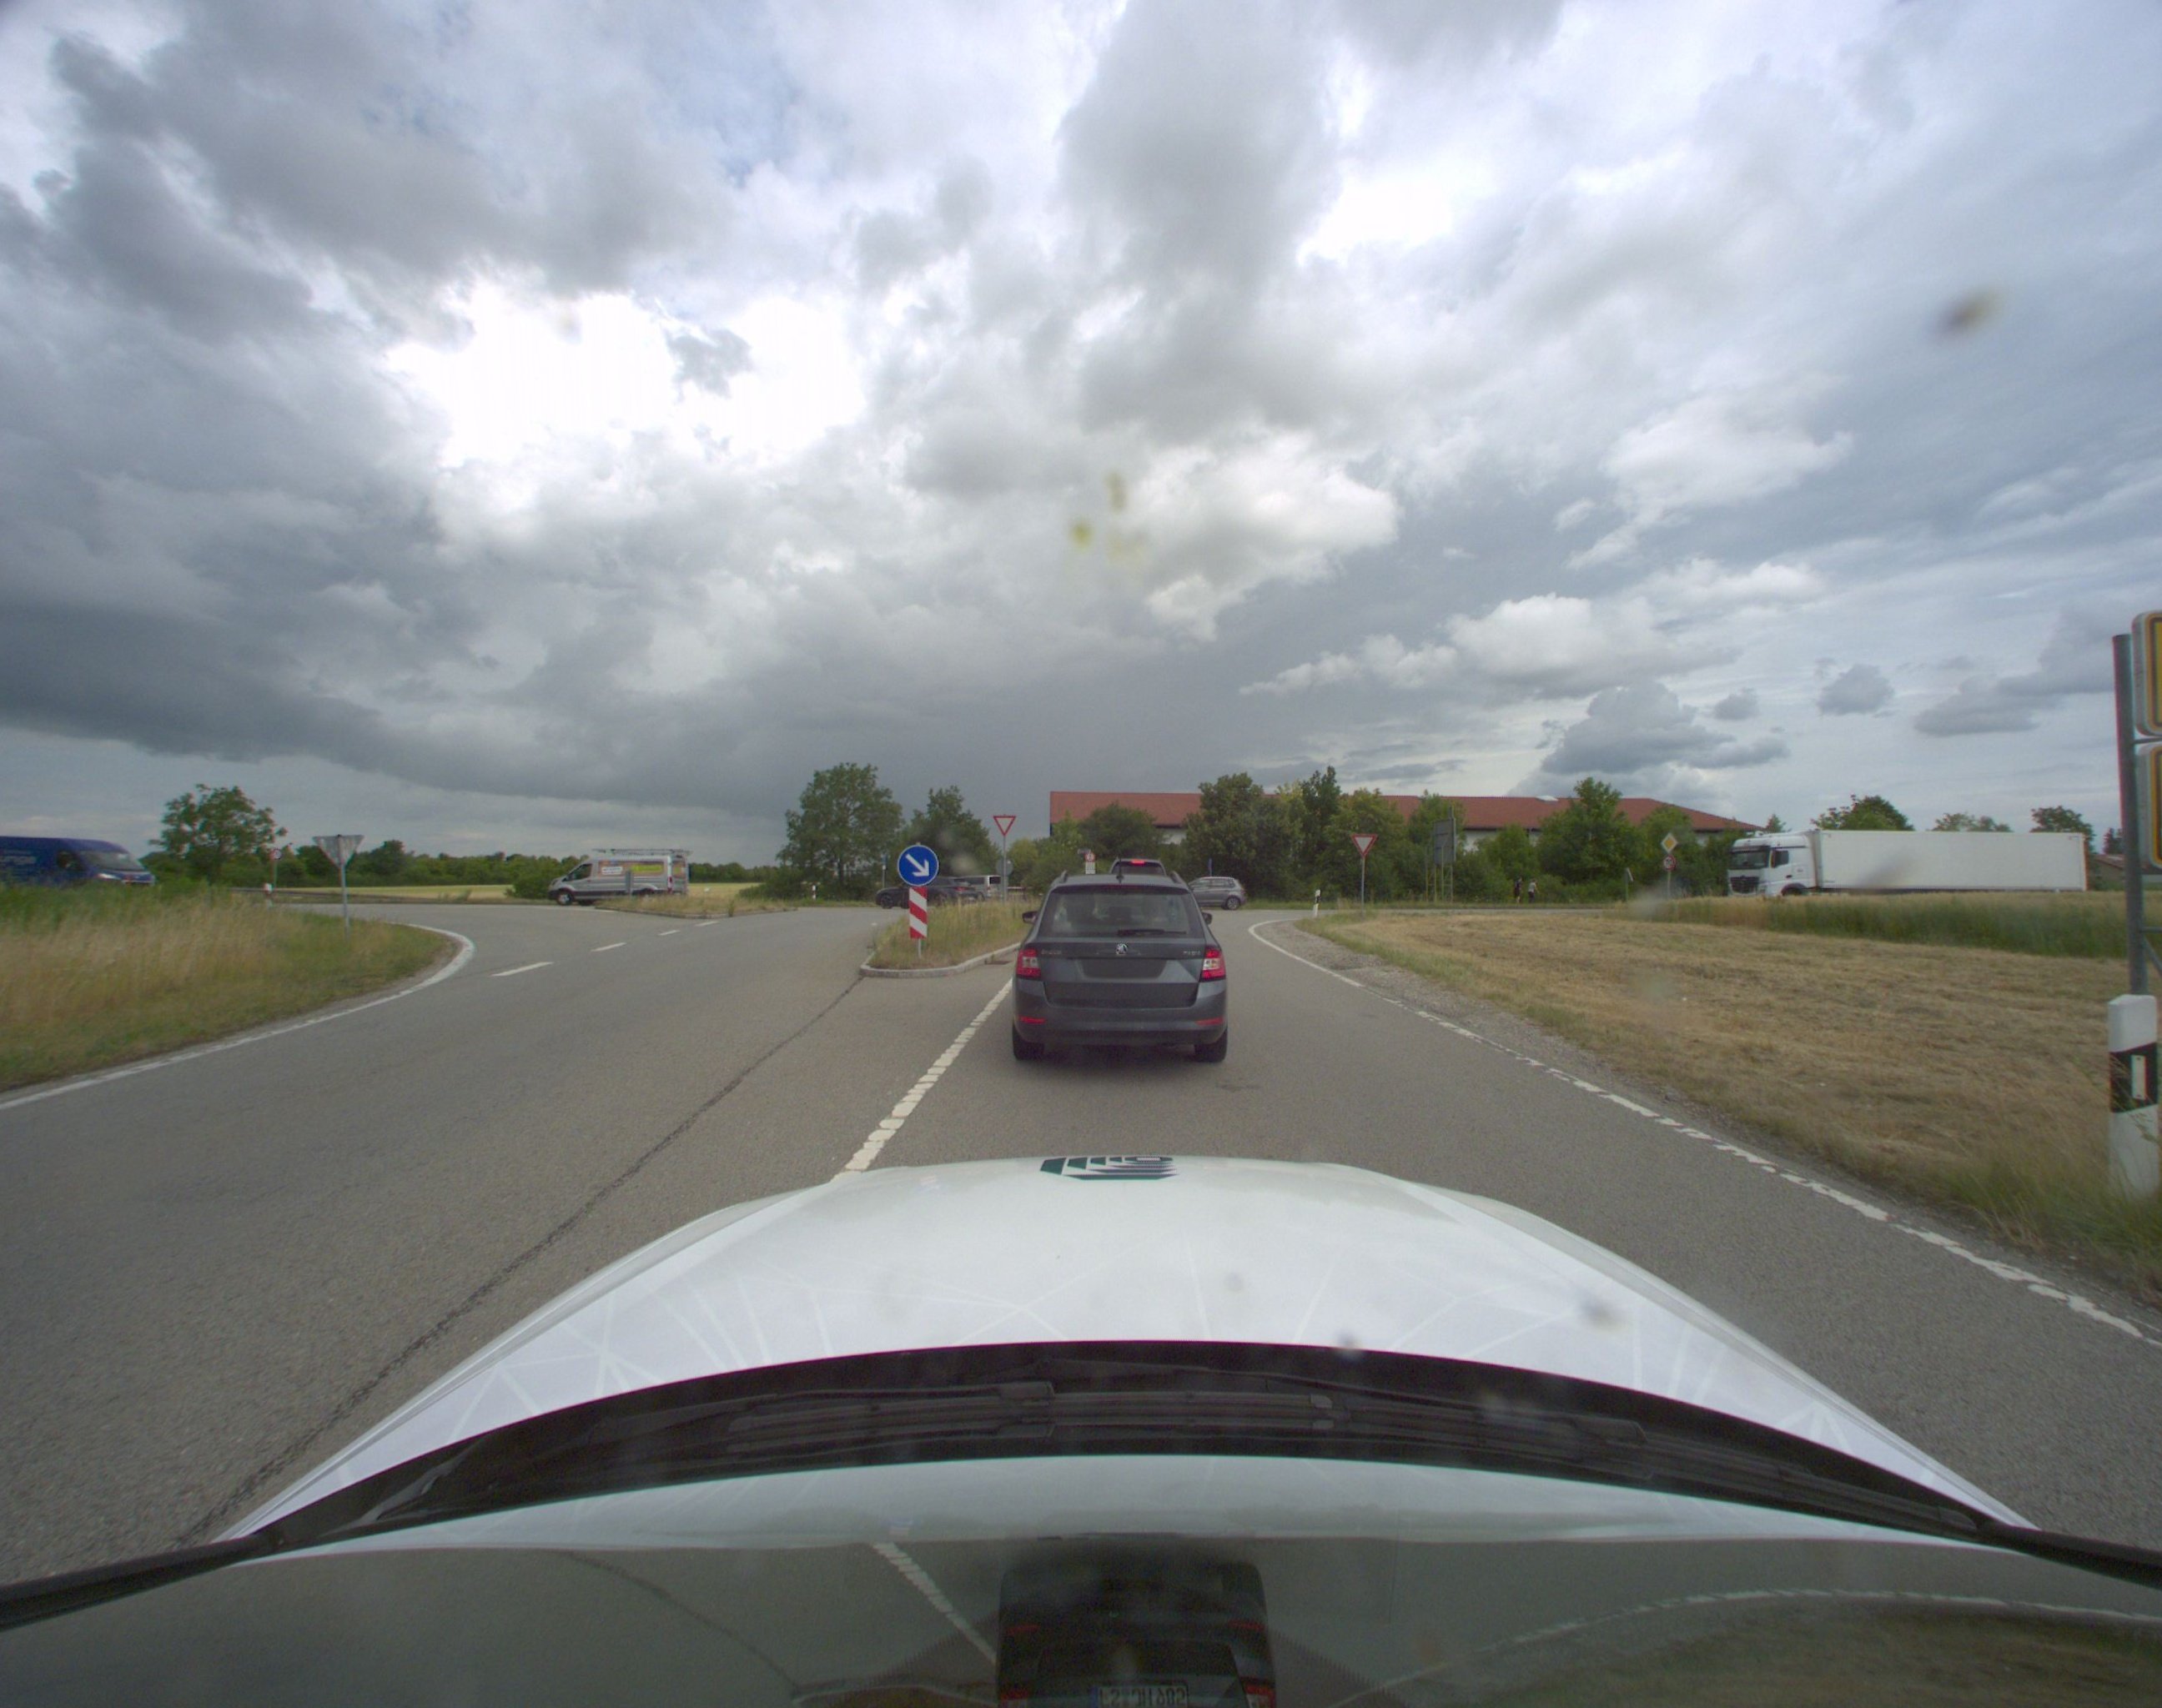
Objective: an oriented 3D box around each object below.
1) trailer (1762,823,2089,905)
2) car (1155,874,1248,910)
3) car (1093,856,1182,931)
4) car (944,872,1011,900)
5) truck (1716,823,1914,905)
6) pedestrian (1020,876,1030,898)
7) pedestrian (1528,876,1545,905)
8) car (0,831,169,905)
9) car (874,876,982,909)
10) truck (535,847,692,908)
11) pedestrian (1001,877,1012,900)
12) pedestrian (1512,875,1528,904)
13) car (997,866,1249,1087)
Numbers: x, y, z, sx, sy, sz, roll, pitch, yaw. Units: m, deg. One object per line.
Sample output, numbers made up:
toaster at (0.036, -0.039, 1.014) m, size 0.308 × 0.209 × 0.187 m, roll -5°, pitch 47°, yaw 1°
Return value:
trailer at (43.122, 0.576, 41.860) m, size 13.803 × 4.015 × 3.126 m, roll 0°, pitch -3°, yaw -2°
car at (5.771, 1.837, 39.509) m, size 4.197 × 1.601 × 1.999 m, roll -1°, pitch -1°, yaw -1°
car at (1.406, 1.040, 21.912) m, size 1.988 × 1.775 × 4.640 m, roll 0°, pitch -2°, yaw -1°
car at (-8.009, 2.447, 62.800) m, size 4.851 × 2.014 × 2.357 m, roll -1°, pitch -1°, yaw 37°
truck at (37.330, 0.580, 41.609) m, size 7.263 × 4.015 × 3.126 m, roll 0°, pitch -3°, yaw -2°
pedestrian at (-4.525, 2.665, 65.764) m, size 0.578 × 1.682 × 0.569 m, roll -1°, pitch -1°, yaw 24°
pedestrian at (26.273, 2.090, 46.984) m, size 0.625 × 1.682 × 0.529 m, roll 0°, pitch -1°, yaw -7°
car at (-38.256, 0.513, 30.518) m, size 5.537 × 2.639 × 2.148 m, roll -1°, pitch -1°, yaw -2°
car at (-6.653, 1.649, 35.416) m, size 4.306 × 1.345 × 1.690 m, roll -1°, pitch -1°, yaw 19°
truck at (-21.862, 1.073, 38.299) m, size 6.015 × 2.703 × 2.062 m, roll 0°, pitch -1°, yaw -6°
pedestrian at (-5.673, 2.660, 62.278) m, size 0.523 × 1.726 × 0.645 m, roll -1°, pitch -1°, yaw 36°
pedestrian at (26.035, 2.116, 48.318) m, size 0.625 × 1.682 × 0.529 m, roll 0°, pitch -1°, yaw -7°
car at (0.338, 0.846, 7.290) m, size 1.670 × 1.463 × 3.709 m, roll 0°, pitch -1°, yaw 2°
